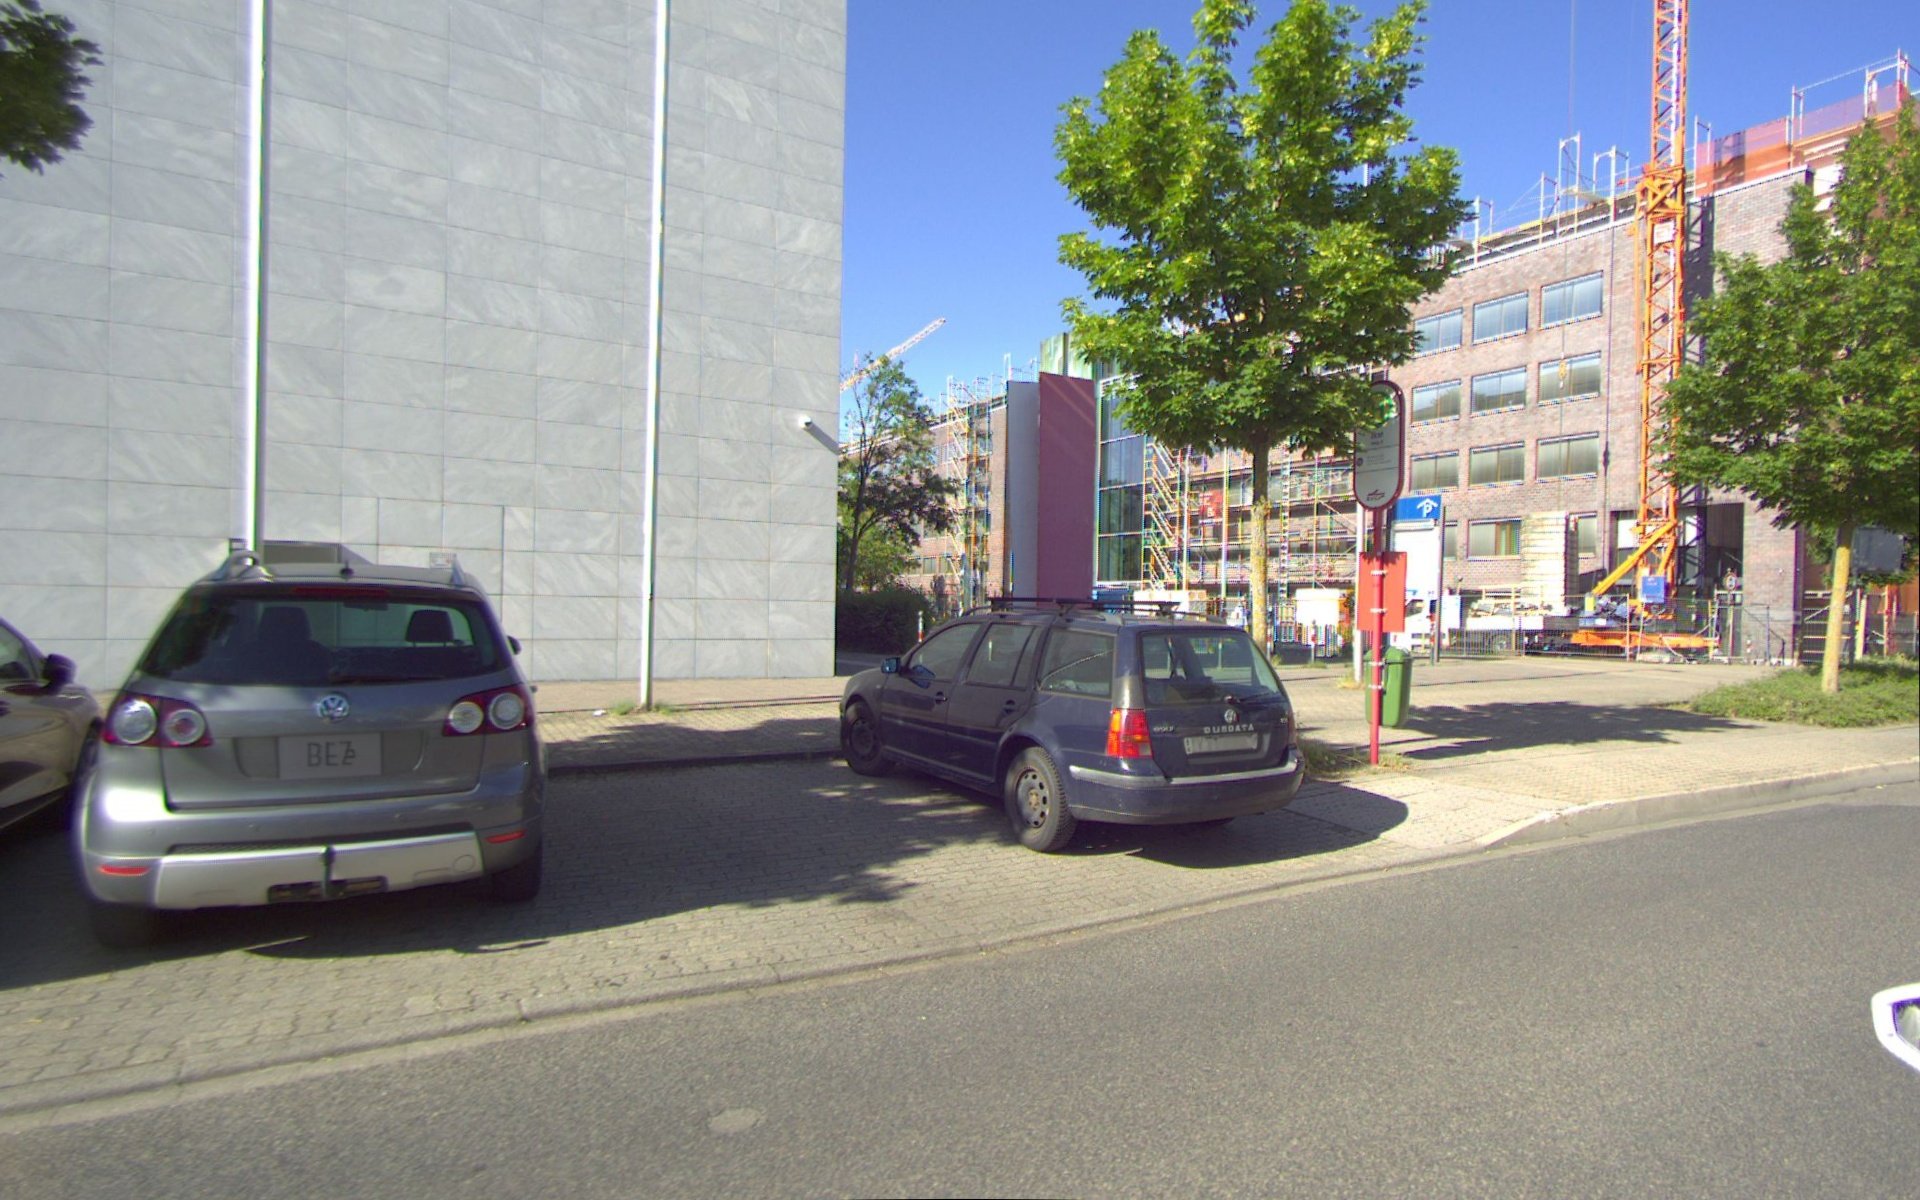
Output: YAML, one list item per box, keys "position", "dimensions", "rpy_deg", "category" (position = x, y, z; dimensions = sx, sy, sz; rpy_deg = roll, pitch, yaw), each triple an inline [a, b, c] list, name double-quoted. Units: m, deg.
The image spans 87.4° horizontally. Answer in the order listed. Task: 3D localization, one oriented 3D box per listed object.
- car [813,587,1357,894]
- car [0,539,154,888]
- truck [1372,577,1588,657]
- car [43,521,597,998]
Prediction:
- position: [0.602, 0.724, 7.542]
  dimensions: [1.849, 1.513, 4.106]
  rpy_deg: [0, 2, -33]
  category: "car"
- position: [-5.417, 0.474, 4.717]
  dimensions: [1.833, 1.537, 3.969]
  rpy_deg: [2, -1, -29]
  category: "car"
- position: [18.354, 0.543, 35.966]
  dimensions: [2.251, 2.581, 6.830]
  rpy_deg: [1, 0, -28]
  category: "truck"
- position: [-3.288, 0.522, 5.725]
  dimensions: [1.804, 1.686, 3.972]
  rpy_deg: [2, 1, -27]
  category: "car"
